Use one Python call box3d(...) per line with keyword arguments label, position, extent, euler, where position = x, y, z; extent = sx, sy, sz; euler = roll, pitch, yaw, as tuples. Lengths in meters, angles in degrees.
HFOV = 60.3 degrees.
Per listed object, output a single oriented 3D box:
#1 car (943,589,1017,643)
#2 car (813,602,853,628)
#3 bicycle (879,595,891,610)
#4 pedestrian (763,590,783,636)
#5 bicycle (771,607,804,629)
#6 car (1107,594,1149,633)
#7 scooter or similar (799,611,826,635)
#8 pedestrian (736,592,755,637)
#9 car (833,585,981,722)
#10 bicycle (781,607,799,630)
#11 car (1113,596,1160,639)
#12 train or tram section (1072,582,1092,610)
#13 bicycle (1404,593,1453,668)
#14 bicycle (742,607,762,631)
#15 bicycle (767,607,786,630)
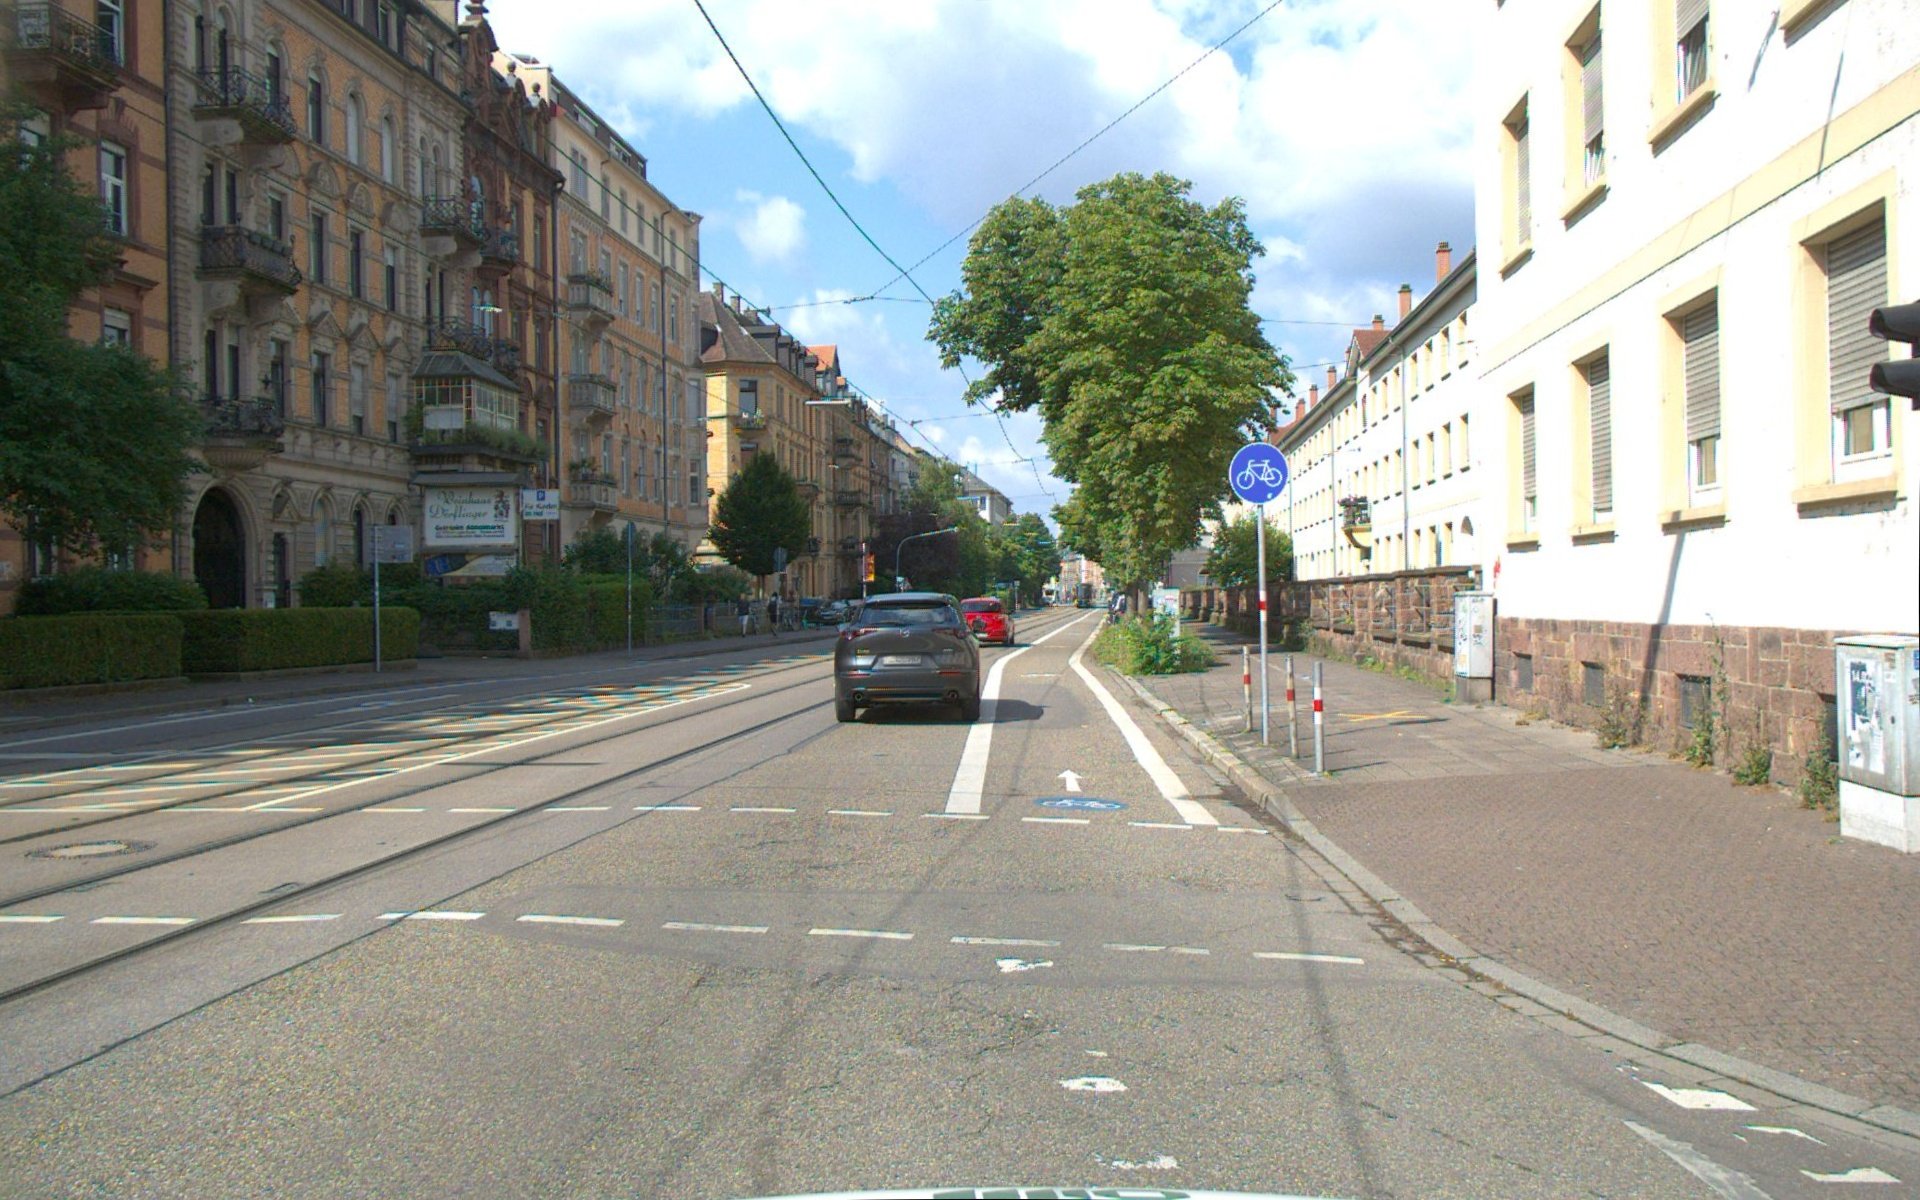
box3d(label="car", position=(0.654, 0.484, 51.263), extent=(1.951, 1.555, 4.002), euler=(1, 0, 5))
box3d(label="car", position=(-7.746, 0.913, 101.165), extent=(1.650, 1.485, 4.767), euler=(-2, 0, 5))
box3d(label="bicycle", position=(-4.851, 0.157, 107.199), extent=(0.519, 0.963, 1.969), euler=(-1, 0, 5))
box3d(label="pedestrian", position=(-7.338, 0.497, 64.865), extent=(0.522, 1.791, 1.106), euler=(1, 0, 5))
box3d(label="bicycle", position=(-8.050, 0.851, 77.215), extent=(1.422, 0.994, 0.404), euler=(-2, 0, 5))
box3d(label="car", position=(7.604, 0.599, 75.163), extent=(1.823, 1.682, 4.640), euler=(-1, 0, 5))
box3d(label="scooter or similar", position=(-7.651, 1.195, 85.954), extent=(1.343, 1.256, 0.401), euler=(0, -1, -23))
box3d(label="pedestrian", position=(-8.354, 0.550, 64.408), extent=(0.477, 1.733, 1.152), euler=(-1, 0, 3))
box3d(label="car", position=(-0.601, 0.615, 21.027), extent=(1.685, 1.553, 3.589), euler=(-1, 0, 0))
box3d(label="bicycle", position=(-7.762, 0.834, 75.634), extent=(0.412, 0.993, 1.950), euler=(-1, 0, 5))
box3d(label="car", position=(6.850, 0.668, 64.403), extent=(1.705, 1.608, 4.251), euler=(-1, 0, 5))
box3d(label="train or tram section", position=(17.500, -0.647, 236.411), extent=(2.517, 3.838, 13.034), euler=(-1, 0, 5))
box3d(label="bicycle", position=(7.885, 0.496, 27.883), extent=(0.494, 1.222, 1.492), euler=(-1, 0, 4))
box3d(label="bicycle", position=(-8.557, 0.775, 68.021), extent=(0.412, 0.949, 1.950), euler=(-1, 0, 5))
box3d(label="bicycle", position=(-8.103, 0.831, 73.132), extent=(0.412, 0.993, 1.950), euler=(-1, 0, 5))
